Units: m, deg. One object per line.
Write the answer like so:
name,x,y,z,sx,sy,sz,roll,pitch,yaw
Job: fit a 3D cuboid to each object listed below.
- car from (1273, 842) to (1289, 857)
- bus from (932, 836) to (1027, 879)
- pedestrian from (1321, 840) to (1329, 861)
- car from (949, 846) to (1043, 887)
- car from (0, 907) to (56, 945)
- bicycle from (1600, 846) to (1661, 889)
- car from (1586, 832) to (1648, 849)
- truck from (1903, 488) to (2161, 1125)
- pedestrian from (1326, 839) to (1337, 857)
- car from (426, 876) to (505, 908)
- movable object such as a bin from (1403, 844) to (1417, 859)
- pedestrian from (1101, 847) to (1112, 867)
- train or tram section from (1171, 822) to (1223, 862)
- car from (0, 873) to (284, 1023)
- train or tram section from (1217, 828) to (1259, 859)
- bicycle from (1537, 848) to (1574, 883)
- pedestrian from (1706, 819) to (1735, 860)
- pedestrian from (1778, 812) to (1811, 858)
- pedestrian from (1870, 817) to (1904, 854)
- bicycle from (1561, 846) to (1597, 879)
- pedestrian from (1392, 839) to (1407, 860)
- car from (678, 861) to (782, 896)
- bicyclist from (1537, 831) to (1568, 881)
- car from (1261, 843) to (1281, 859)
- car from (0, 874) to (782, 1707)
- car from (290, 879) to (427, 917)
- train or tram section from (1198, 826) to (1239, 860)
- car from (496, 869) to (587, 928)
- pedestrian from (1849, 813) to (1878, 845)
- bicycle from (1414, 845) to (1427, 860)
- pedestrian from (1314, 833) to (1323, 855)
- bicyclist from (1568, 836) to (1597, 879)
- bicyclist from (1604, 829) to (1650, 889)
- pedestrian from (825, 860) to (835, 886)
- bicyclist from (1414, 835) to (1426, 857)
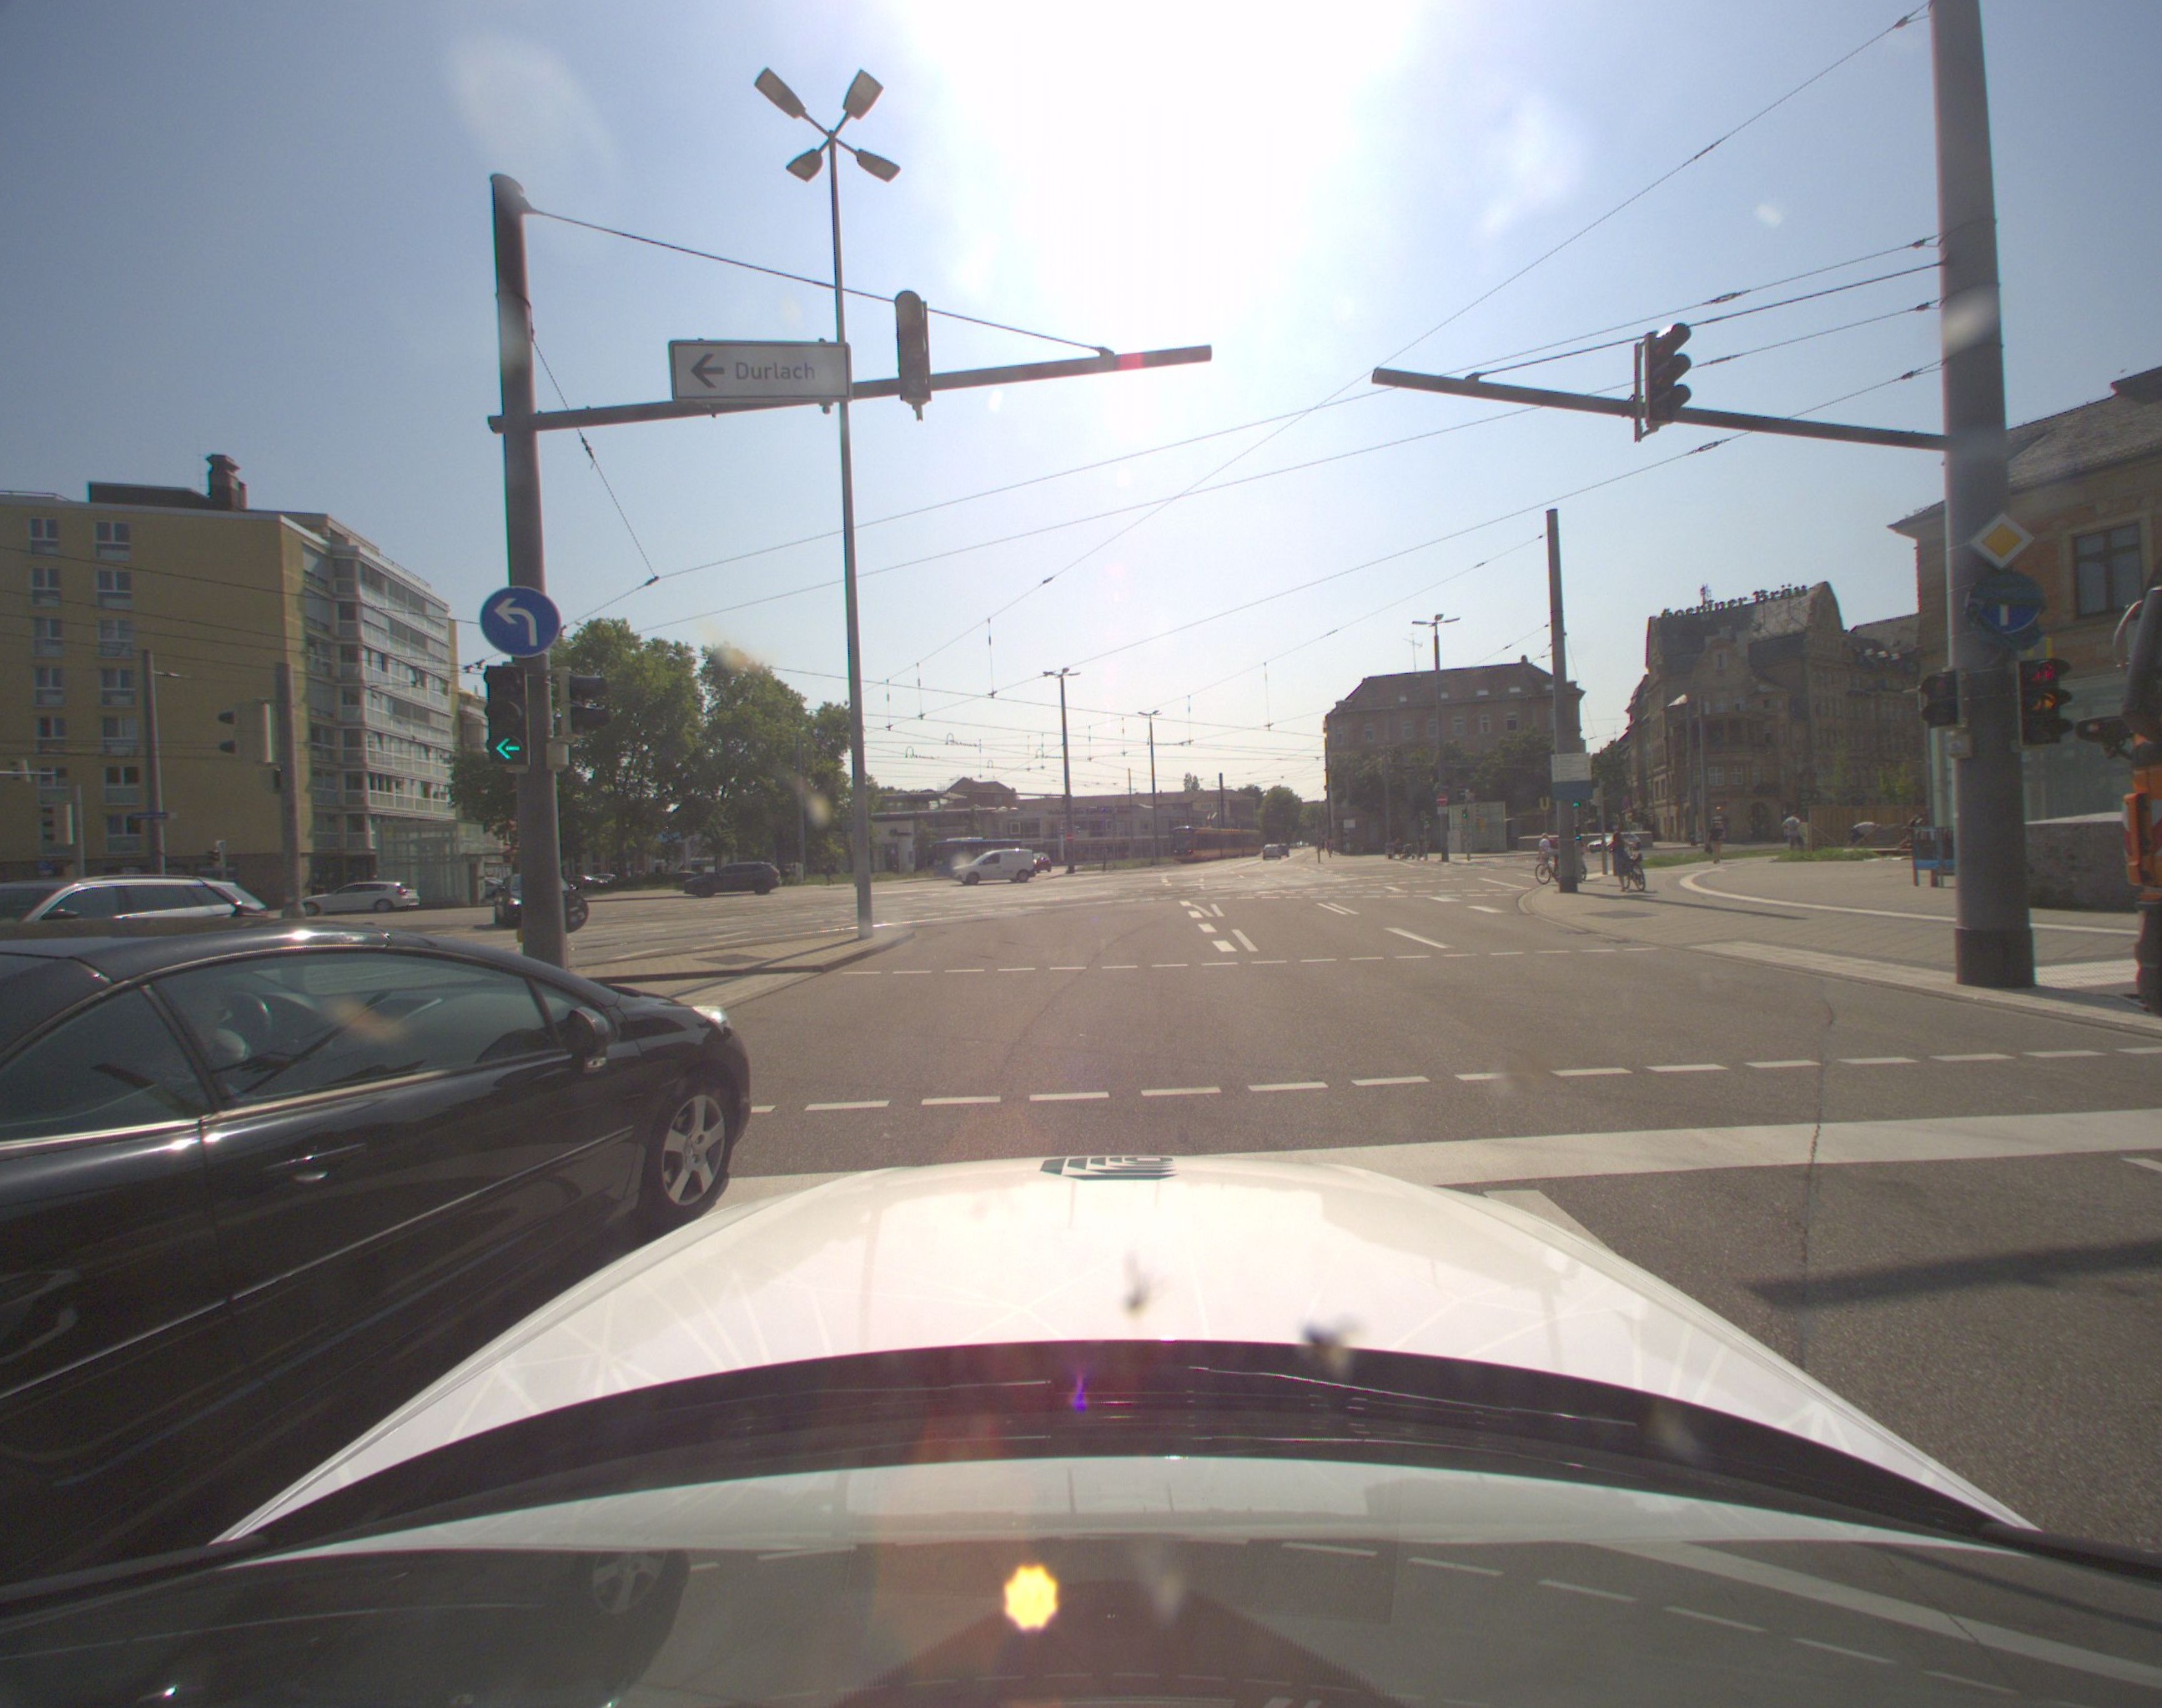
car,22.535,-0.544,91.705,1.625,1.618,4.016,-2,0,14
bus,-8.030,0.211,66.873,2.541,3.082,12.082,-3,0,19
pedestrian,35.942,-0.496,119.953,0.978,3.017,0.976,-2,0,5
car,-4.614,0.661,44.121,4.630,2.013,1.985,-2,0,-23
car,-48.223,3.242,37.007,3.948,1.508,1.759,-2,0,35
bicycle,14.239,0.338,21.150,0.489,1.055,1.826,-2,0,7
car,40.501,-1.041,61.520,4.002,1.090,1.986,-2,0,-22
truck,6.412,-0.249,1.827,2.481,3.134,6.869,-1,0,4
pedestrian,22.542,-0.547,73.369,0.699,1.603,0.572,-2,0,-6
car,-43.899,2.673,58.211,3.994,2.013,1.921,-2,0,-15
movable object such as a bin,24.758,-0.205,61.247,0.812,1.077,0.510,-2,0,-9
pedestrian,1.866,0.209,58.785,0.678,1.443,0.364,-2,0,-15
train or tram section,11.529,-1.168,80.143,2.566,3.516,10.955,-2,0,21
car,-12.976,1.123,10.097,1.761,1.600,4.539,-2,0,-2
train or tram section,19.528,-1.327,100.543,2.566,3.516,13.042,-2,0,22
bicycle,14.790,0.342,25.407,0.532,1.055,1.660,-2,0,14
pedestrian,25.005,-0.579,31.844,0.794,1.575,0.729,-2,0,-44
pedestrian,27.102,-0.726,30.950,0.549,1.724,0.812,-2,0,-39
pedestrian,31.785,-0.737,32.132,0.768,1.399,0.687,-2,0,-23
bicycle,16.697,0.272,27.350,0.532,1.055,1.660,-2,0,14
pedestrian,24.124,-0.372,61.698,0.849,1.545,0.527,-2,0,-6
car,-17.667,1.193,41.270,4.624,1.505,1.987,-2,0,-19
bicyclist,14.761,0.068,25.521,0.623,1.517,0.715,-2,0,14
car,18.965,-0.306,81.209,1.757,1.415,4.205,-2,0,14
car,-2.577,0.812,2.262,1.757,1.388,3.787,-1,0,6
car,-32.350,1.939,36.618,4.199,1.415,1.765,-2,0,-18
train or tram section,15.284,-1.217,89.897,2.566,3.516,9.709,-2,0,21
car,-16.512,1.309,24.835,1.748,1.560,4.158,-2,0,-41
pedestrian,30.103,-0.962,31.340,0.658,1.214,0.531,-2,0,30
bicycle,24.396,-0.125,58.557,0.466,1.055,1.658,-2,0,10
pedestrian,33.896,-1.394,116.275,0.978,3.017,0.977,-2,0,7
bicyclist,16.602,0.103,26.982,0.526,1.393,0.897,-2,0,14
bicyclist,14.255,0.134,21.267,0.730,1.517,0.665,-2,0,6
pedestrian,-16.684,1.266,54.070,0.554,1.684,0.451,-2,0,-17
bicyclist,24.354,-0.581,58.475,0.608,1.528,0.522,-2,0,8
